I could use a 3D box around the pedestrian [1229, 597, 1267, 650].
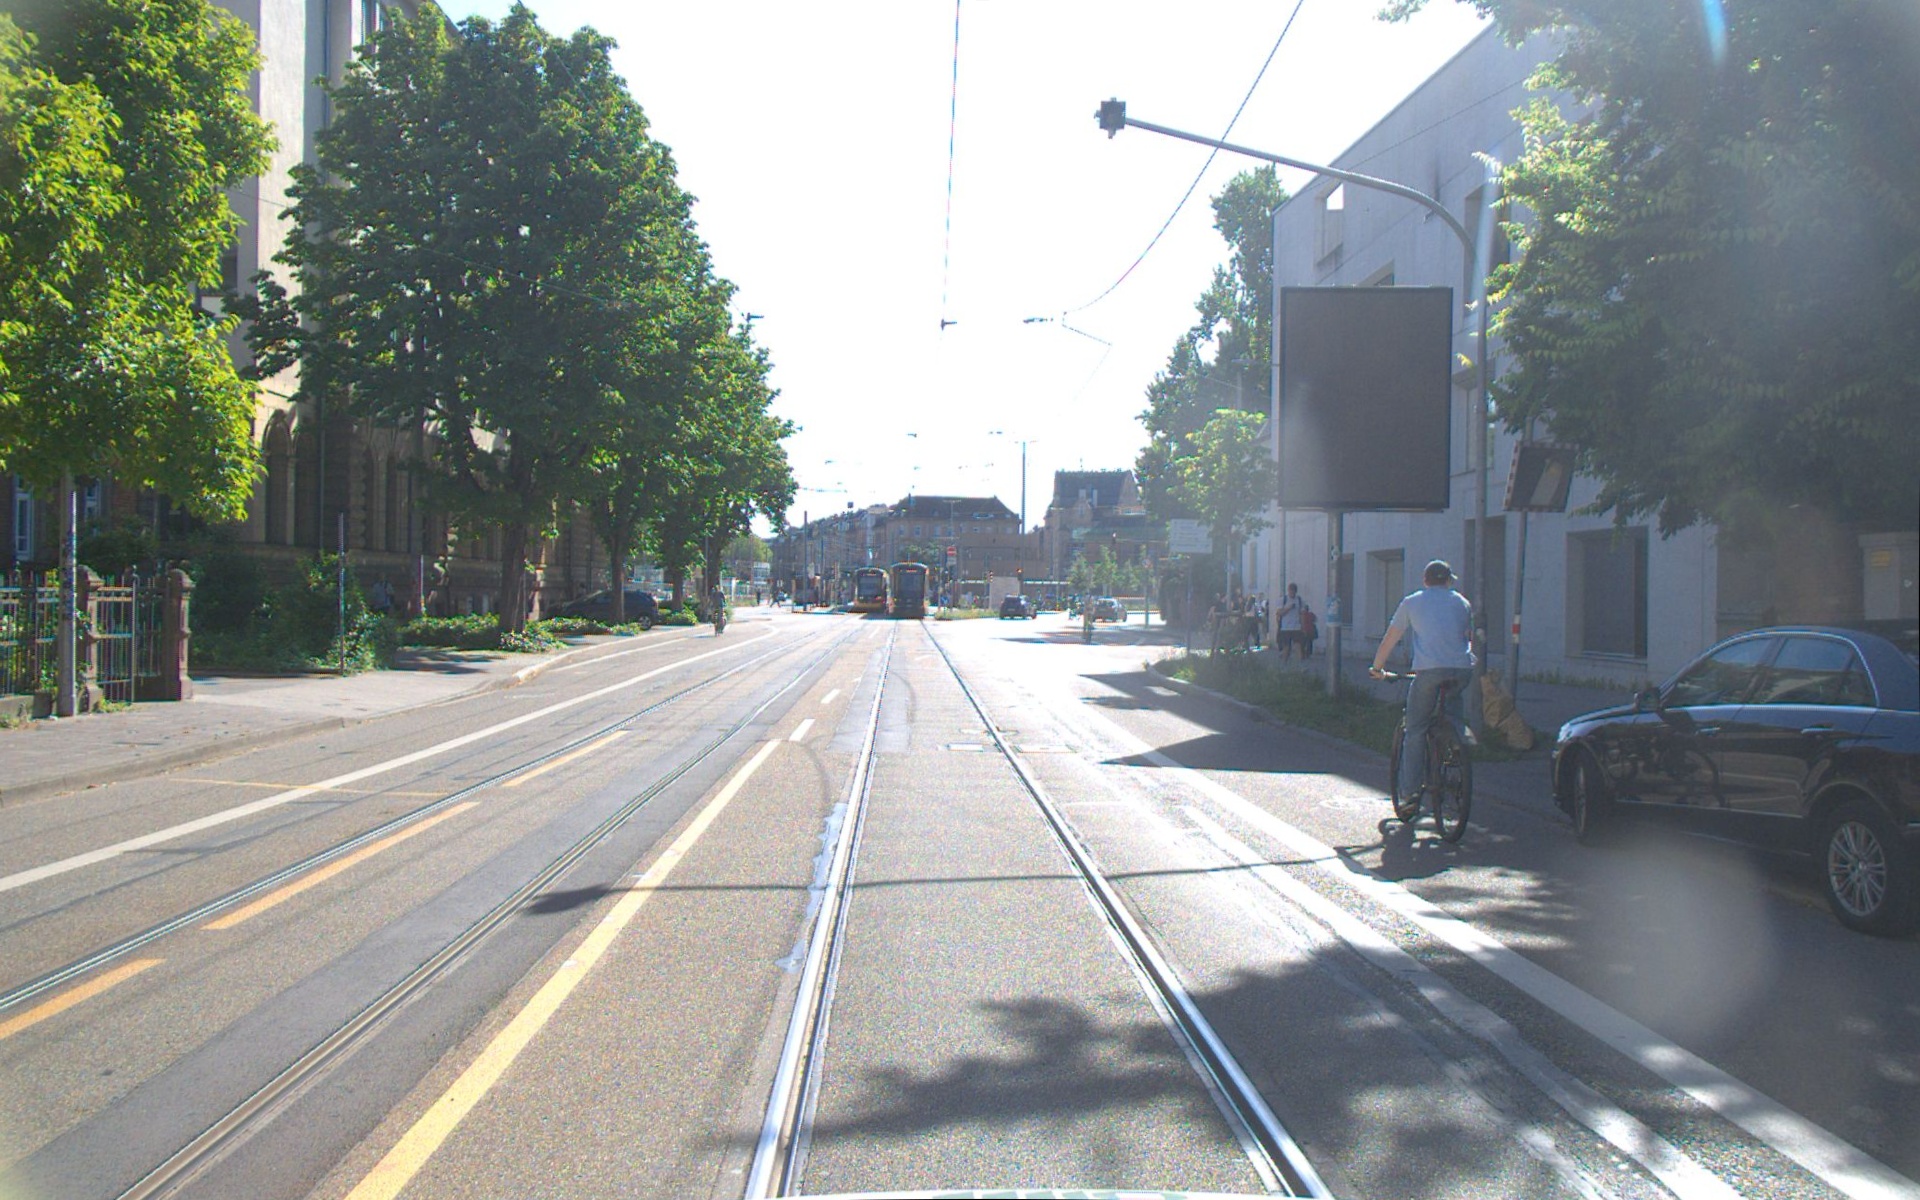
[{"bbox_3d":[9.311,0.765,53.392,0.844,1.669,0.988,-1,-2,39],"label":"pedestrian"}]

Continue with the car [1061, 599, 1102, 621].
[{"bbox_3d":[9.749,0.802,132.307,1.671,1.672,3.702,2,0,33],"label":"car"}]

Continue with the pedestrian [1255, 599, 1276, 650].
[{"bbox_3d":[11.160,0.893,60.398,0.597,1.805,0.653,-3,0,14],"label":"pedestrian"}]

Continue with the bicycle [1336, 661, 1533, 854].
[{"bbox_3d":[3.238,1.032,11.502,0.723,1.113,2.111,2,0,0],"label":"bicycle"}]

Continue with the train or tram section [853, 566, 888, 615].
[{"bbox_3d":[-7.305,-0.814,135.858,2.687,3.715,13.778,1,0,-3],"label":"train or tram section"}]

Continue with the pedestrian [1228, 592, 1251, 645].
[{"bbox_3d":[9.810,0.646,58.003,0.633,1.793,0.957,-3,0,13],"label":"pedestrian"}]

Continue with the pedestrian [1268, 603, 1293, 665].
[{"bbox_3d":[8.409,0.884,43.377,0.507,1.628,0.764,1,0,1],"label":"pedestrian"}]

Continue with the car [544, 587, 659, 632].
[{"bbox_3d":[-13.798,0.380,63.634,3.944,1.577,1.859,2,0,-30],"label":"car"}]

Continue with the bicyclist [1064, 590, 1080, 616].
[{"bbox_3d":[7.627,0.195,112.525,0.690,1.730,0.987,3,1,22],"label":"bicyclist"}]

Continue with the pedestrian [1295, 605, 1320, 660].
[{"bbox_3d":[9.113,0.854,43.353,0.507,1.429,0.764,1,0,1],"label":"pedestrian"}]

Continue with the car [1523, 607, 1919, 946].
[{"bbox_3d":[5.082,0.813,9.337,1.786,1.484,4.813,-1,0,-5],"label":"car"}]

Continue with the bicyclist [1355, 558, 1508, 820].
[{"bbox_3d":[3.252,0.594,11.490,0.723,1.715,0.972,2,0,0],"label":"bicyclist"}]

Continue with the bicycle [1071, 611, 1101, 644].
[{"bbox_3d":[4.528,0.965,59.336,0.690,1.124,1.718,3,0,17],"label":"bicycle"}]

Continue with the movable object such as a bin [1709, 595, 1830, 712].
[{"bbox_3d":[10.656,0.683,21.825,0.914,1.489,1.355,1,0,0],"label":"movable object such as a bin"}]

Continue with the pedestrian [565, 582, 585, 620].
[{"bbox_3d":[-17.358,0.052,74.558,0.686,1.663,0.759,3,0,-2],"label":"pedestrian"}]

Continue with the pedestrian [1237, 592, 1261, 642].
[{"bbox_3d":[10.623,0.617,60.793,0.519,1.805,0.732,-4,0,38],"label":"pedestrian"}]

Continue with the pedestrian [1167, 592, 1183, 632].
[{"bbox_3d":[10.732,0.585,82.646,0.624,1.937,1.134,-1,0,-1],"label":"pedestrian"}]

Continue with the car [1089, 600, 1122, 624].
[{"bbox_3d":[9.764,0.774,110.937,1.751,1.537,3.716,2,0,12],"label":"car"}]

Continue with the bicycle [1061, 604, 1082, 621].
[{"bbox_3d":[7.598,0.841,112.552,0.690,1.073,2.313,3,1,22],"label":"bicycle"}]

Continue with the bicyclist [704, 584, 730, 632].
[{"bbox_3d":[-8.536,0.282,58.181,0.672,1.673,1.238,-1,0,2],"label":"bicyclist"}]

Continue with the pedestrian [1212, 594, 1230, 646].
[{"bbox_3d":[9.173,0.702,58.047,0.484,1.758,0.817,-3,0,12],"label":"pedestrian"}]

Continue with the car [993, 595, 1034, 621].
[{"bbox_3d":[3.566,0.535,109.584,1.751,1.632,3.715,2,0,16],"label":"car"}]

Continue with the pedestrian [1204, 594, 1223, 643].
[{"bbox_3d":[9.434,0.674,61.603,0.593,1.777,0.718,-3,0,6],"label":"pedestrian"}]

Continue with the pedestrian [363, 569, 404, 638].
[{"bbox_3d":[-15.650,0.100,44.913,0.714,1.828,0.780,4,-1,1],"label":"pedestrian"}]

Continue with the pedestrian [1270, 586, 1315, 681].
[{"bbox_3d":[6.707,0.670,33.383,0.670,1.882,0.955,-1,0,-3],"label":"pedestrian"}]

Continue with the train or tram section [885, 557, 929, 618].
[{"bbox_3d":[-3.614,-0.848,109.537,2.687,3.715,13.778,1,0,-3],"label":"train or tram section"}]

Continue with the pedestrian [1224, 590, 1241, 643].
[{"bbox_3d":[10.099,0.593,61.405,0.507,1.935,0.612,-3,0,6],"label":"pedestrian"}]

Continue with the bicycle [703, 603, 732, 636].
[{"bbox_3d":[-8.529,0.670,58.199,0.672,1.144,1.932,-1,0,2],"label":"bicycle"}]

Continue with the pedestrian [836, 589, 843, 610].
[{"bbox_3d":[-10.771,-0.060,147.685,0.614,1.859,0.662,1,0,-3],"label":"pedestrian"}]

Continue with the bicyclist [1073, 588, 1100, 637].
[{"bbox_3d":[4.546,0.451,59.333,0.690,1.704,1.102,3,0,17],"label":"bicyclist"}]

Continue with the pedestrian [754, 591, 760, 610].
[{"bbox_3d":[-21.173,0.047,172.461,0.514,2.049,0.522,1,0,2],"label":"pedestrian"}]
